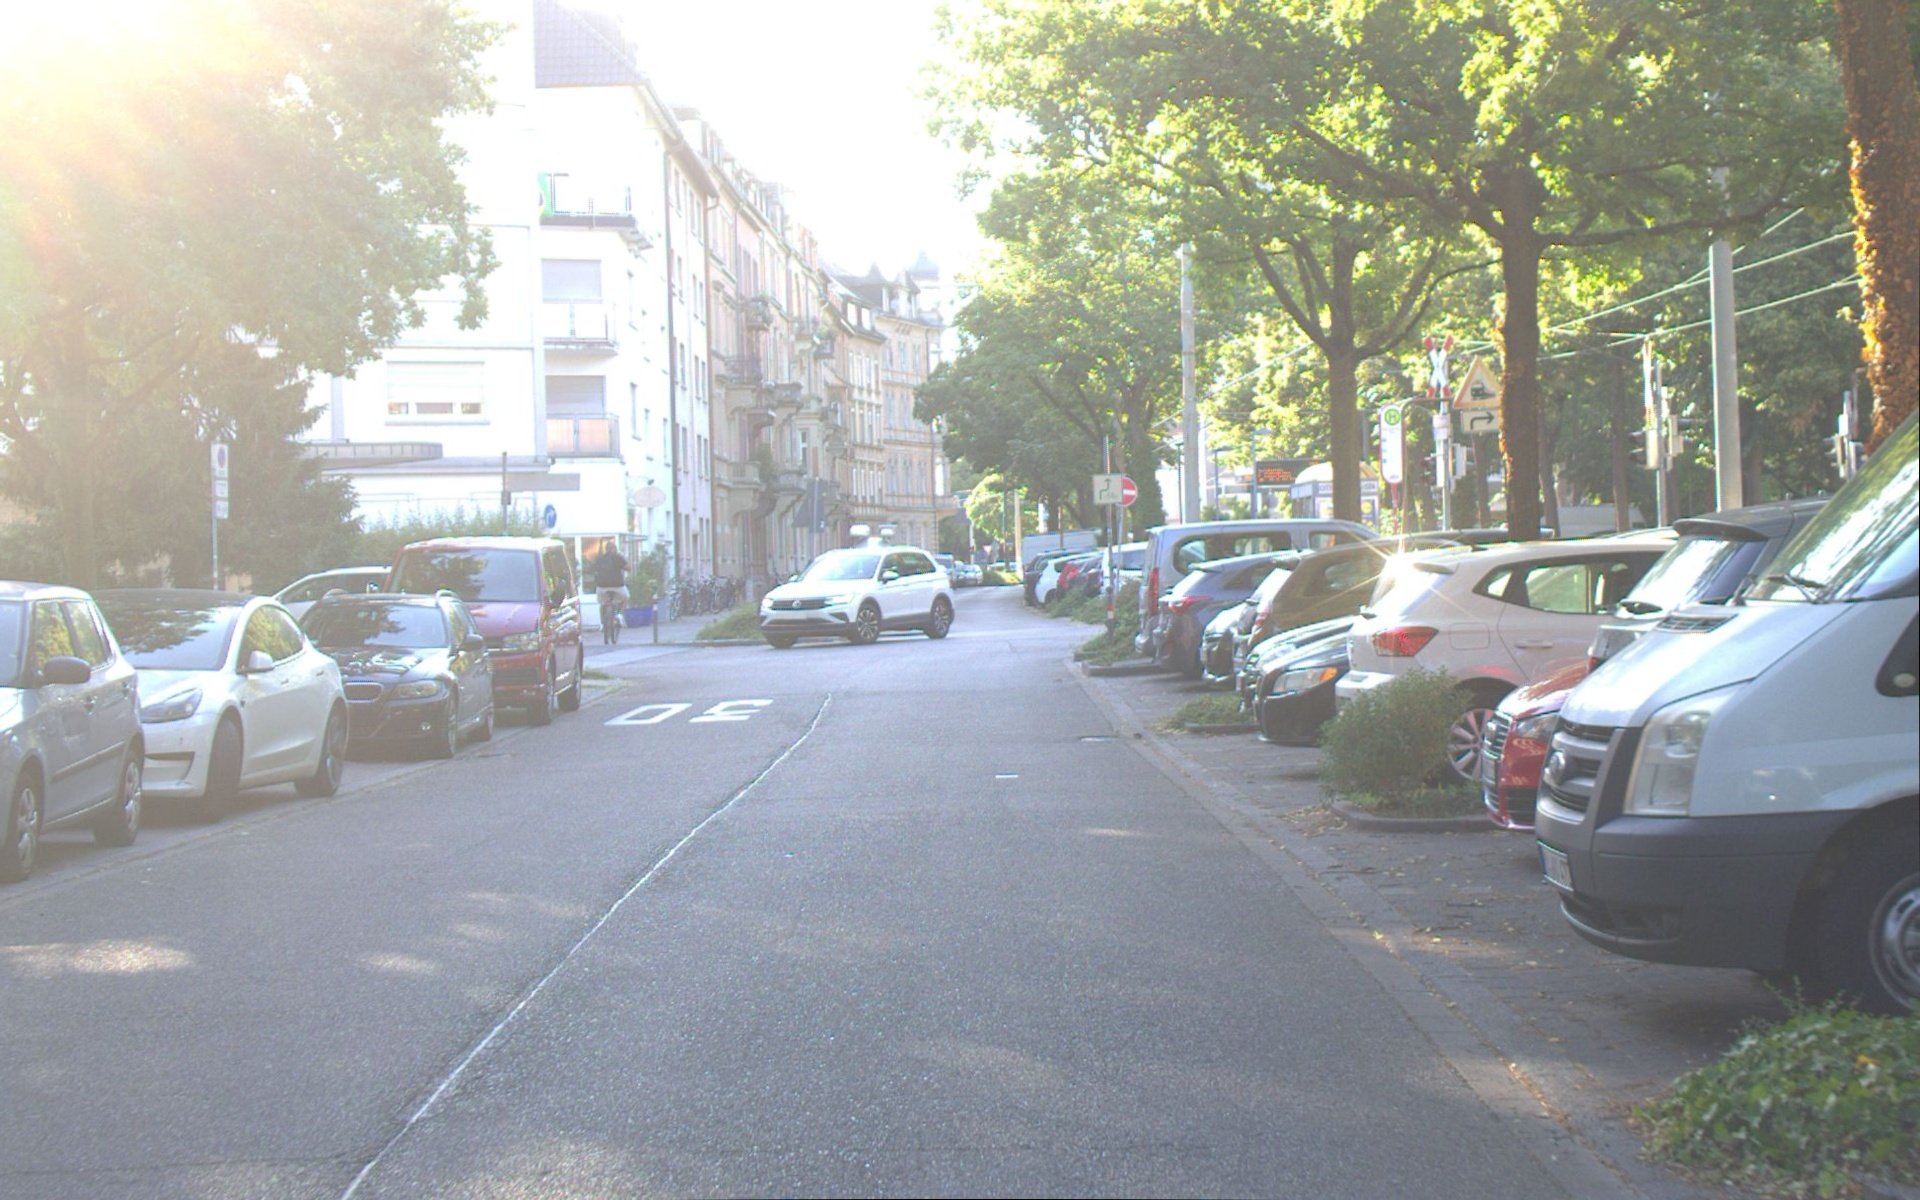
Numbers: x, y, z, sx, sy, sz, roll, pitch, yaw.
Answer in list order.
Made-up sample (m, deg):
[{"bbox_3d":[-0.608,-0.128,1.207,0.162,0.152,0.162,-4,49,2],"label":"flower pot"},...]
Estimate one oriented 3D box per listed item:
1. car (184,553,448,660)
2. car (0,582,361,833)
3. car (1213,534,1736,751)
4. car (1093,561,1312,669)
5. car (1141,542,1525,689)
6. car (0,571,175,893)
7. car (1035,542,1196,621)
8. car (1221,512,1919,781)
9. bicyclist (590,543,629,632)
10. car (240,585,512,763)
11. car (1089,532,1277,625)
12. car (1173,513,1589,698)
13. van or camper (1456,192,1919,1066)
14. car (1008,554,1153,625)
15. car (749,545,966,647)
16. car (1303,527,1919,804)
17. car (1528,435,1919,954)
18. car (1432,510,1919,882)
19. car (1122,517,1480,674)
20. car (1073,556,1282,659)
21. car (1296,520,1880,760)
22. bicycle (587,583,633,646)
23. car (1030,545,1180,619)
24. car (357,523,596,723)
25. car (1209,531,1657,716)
[{"bbox_3d":[-10.715,0.121,57.355,3.987,1.700,2.000,-1,-1,2],"label":"car"},{"bbox_3d":[-5.321,0.639,22.723,1.756,1.461,4.267,-1,1,3],"label":"car"},{"bbox_3d":[4.193,0.352,28.473,3.986,1.694,1.859,-1,-1,-2],"label":"car"},{"bbox_3d":[4.719,0.308,66.715,3.989,2.007,1.999,-1,-1,12],"label":"car"},{"bbox_3d":[4.088,0.182,38.108,3.986,1.558,1.859,-1,-1,-2],"label":"car"},{"bbox_3d":[-5.450,0.619,18.031,1.756,1.510,4.162,-1,1,-1],"label":"car"},{"bbox_3d":[4.152,-0.482,91.413,3.989,2.007,1.999,-1,-1,12],"label":"car"},{"bbox_3d":[4.060,0.313,23.109,4.389,1.694,1.859,-1,-1,-2],"label":"car"},{"bbox_3d":[-6.244,-0.224,61.265,0.627,1.568,0.802,-1,-1,-1],"label":"bicyclist"},{"bbox_3d":[-5.243,0.624,31.381,1.756,1.461,4.268,-1,1,0],"label":"car"},{"bbox_3d":[5.075,-0.463,77.916,3.989,2.007,1.999,-1,-1,12],"label":"car"},{"bbox_3d":[4.289,0.067,35.432,3.986,1.819,1.859,-1,-1,-2],"label":"car"},{"bbox_3d":[4.195,0.073,10.493,4.981,2.369,2.185,-1,-1,-1],"label":"van or camper"},{"bbox_3d":[3.568,-0.303,101.812,3.989,2.007,1.999,-1,-1,12],"label":"car"},{"bbox_3d":[-1.694,-0.091,58.567,1.781,1.668,4.481,0,1,26],"label":"car"},{"bbox_3d":[4.165,0.382,20.491,3.986,1.543,1.859,-1,-1,-2],"label":"car"},{"bbox_3d":[4.332,0.305,13.059,3.986,1.811,1.859,-1,1,-2],"label":"car"},{"bbox_3d":[4.274,0.406,15.433,3.986,1.543,1.859,-1,-1,-2],"label":"car"},{"bbox_3d":[4.003,-0.040,40.781,3.986,1.788,1.859,-1,-1,-2],"label":"car"},{"bbox_3d":[4.461,0.172,70.259,3.989,2.007,1.999,-1,-1,12],"label":"car"},{"bbox_3d":[4.642,0.303,25.814,3.986,1.694,1.859,-1,-1,-2],"label":"car"},{"bbox_3d":[-6.229,0.272,61.222,0.641,1.096,1.944,-1,-1,-1],"label":"bicycle"},{"bbox_3d":[4.145,-0.499,98.275,3.989,2.007,1.999,-1,-1,12],"label":"car"},{"bbox_3d":[-5.120,0.207,36.912,1.957,2.011,4.268,-1,1,0],"label":"car"},{"bbox_3d":[4.501,0.231,33.131,3.986,1.694,1.859,-1,-1,-2],"label":"car"}]
